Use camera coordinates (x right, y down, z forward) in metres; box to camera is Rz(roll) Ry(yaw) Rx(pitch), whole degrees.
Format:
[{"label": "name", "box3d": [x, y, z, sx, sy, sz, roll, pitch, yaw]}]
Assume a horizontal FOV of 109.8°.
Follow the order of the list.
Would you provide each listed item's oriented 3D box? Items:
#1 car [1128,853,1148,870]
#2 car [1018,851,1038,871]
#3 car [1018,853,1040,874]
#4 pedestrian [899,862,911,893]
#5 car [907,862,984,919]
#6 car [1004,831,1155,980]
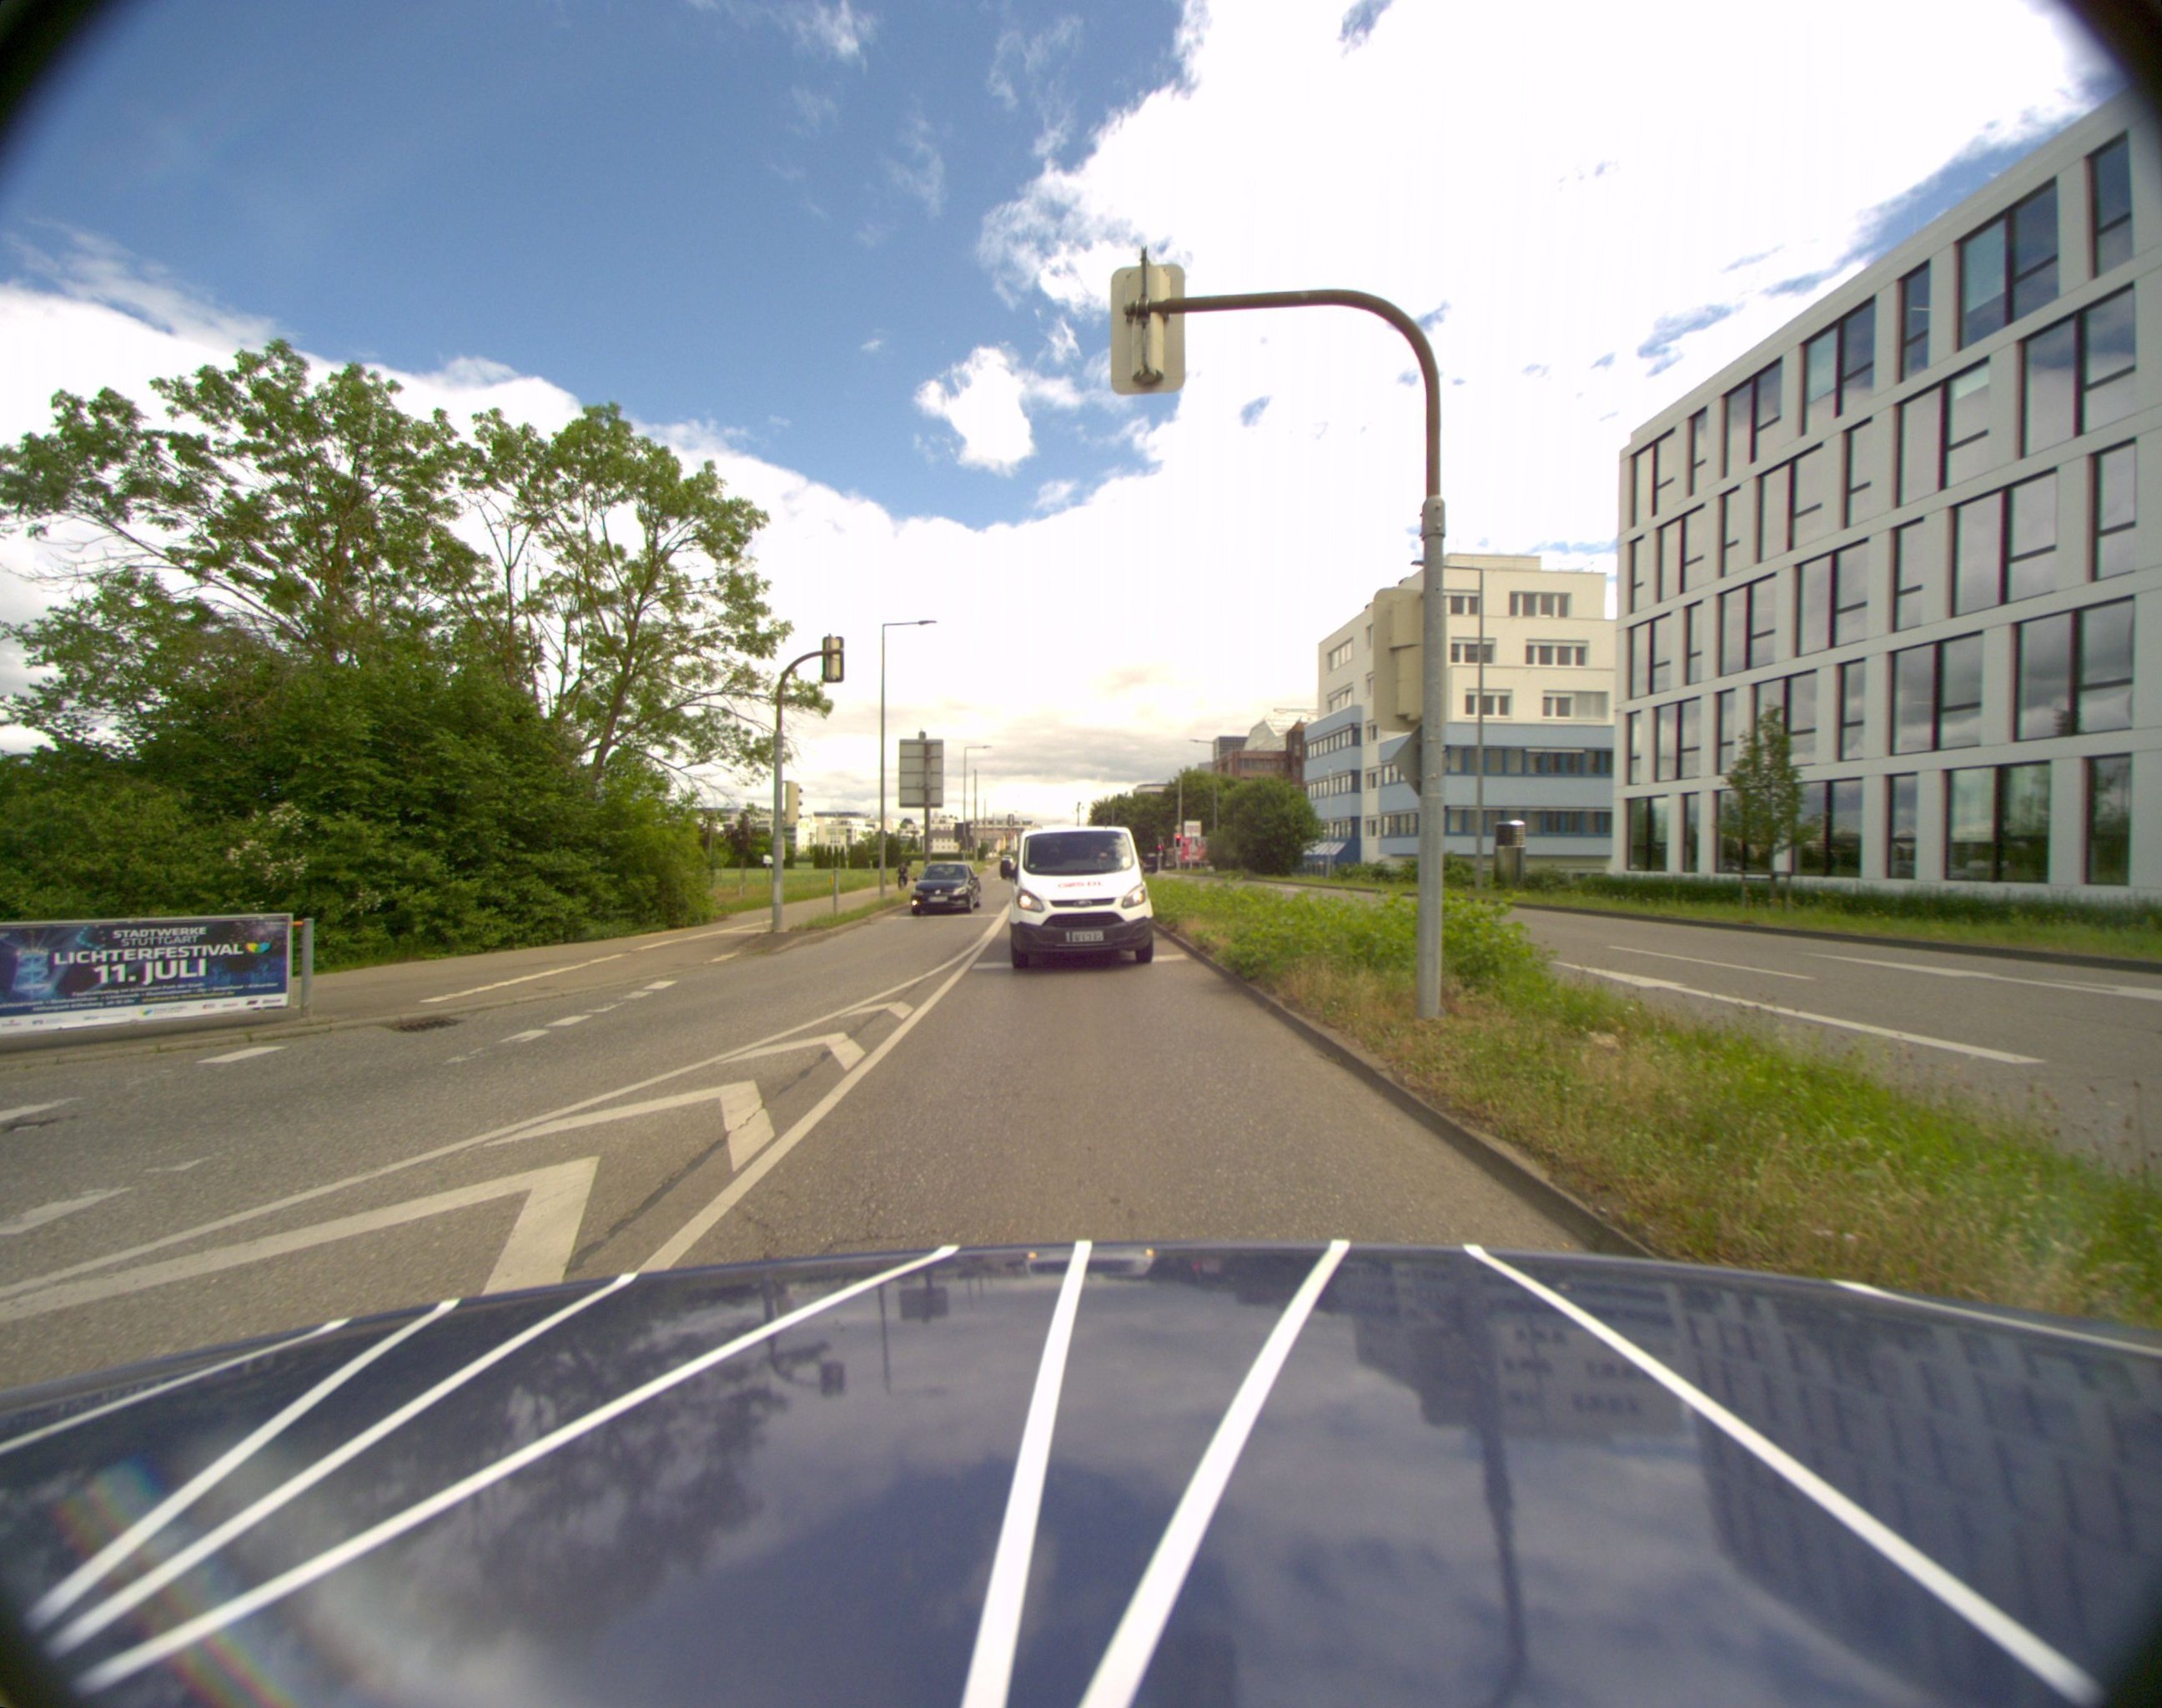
[{"label": "car", "box3d": [5.535, 0.707, 73.349, 1.758, 1.438, 3.893, -2, 1, 5]}, {"label": "car", "box3d": [-4.556, 0.572, 64.857, 1.628, 1.528, 3.429, -2, 1, -5]}, {"label": "car", "box3d": [-4.156, 0.710, 60.520, 1.628, 1.528, 3.429, -2, 1, -5]}, {"label": "pedestrian", "box3d": [-9.778, 1.279, 42.219, 0.492, 1.693, 0.625, -2, 1, -5]}, {"label": "car", "box3d": [-3.863, 0.993, 22.178, 1.683, 1.410, 3.739, -1, 1, -2]}, {"label": "car", "box3d": [-0.132, 0.681, 12.709, 1.968, 1.938, 5.053, -1, 0, -3]}]
